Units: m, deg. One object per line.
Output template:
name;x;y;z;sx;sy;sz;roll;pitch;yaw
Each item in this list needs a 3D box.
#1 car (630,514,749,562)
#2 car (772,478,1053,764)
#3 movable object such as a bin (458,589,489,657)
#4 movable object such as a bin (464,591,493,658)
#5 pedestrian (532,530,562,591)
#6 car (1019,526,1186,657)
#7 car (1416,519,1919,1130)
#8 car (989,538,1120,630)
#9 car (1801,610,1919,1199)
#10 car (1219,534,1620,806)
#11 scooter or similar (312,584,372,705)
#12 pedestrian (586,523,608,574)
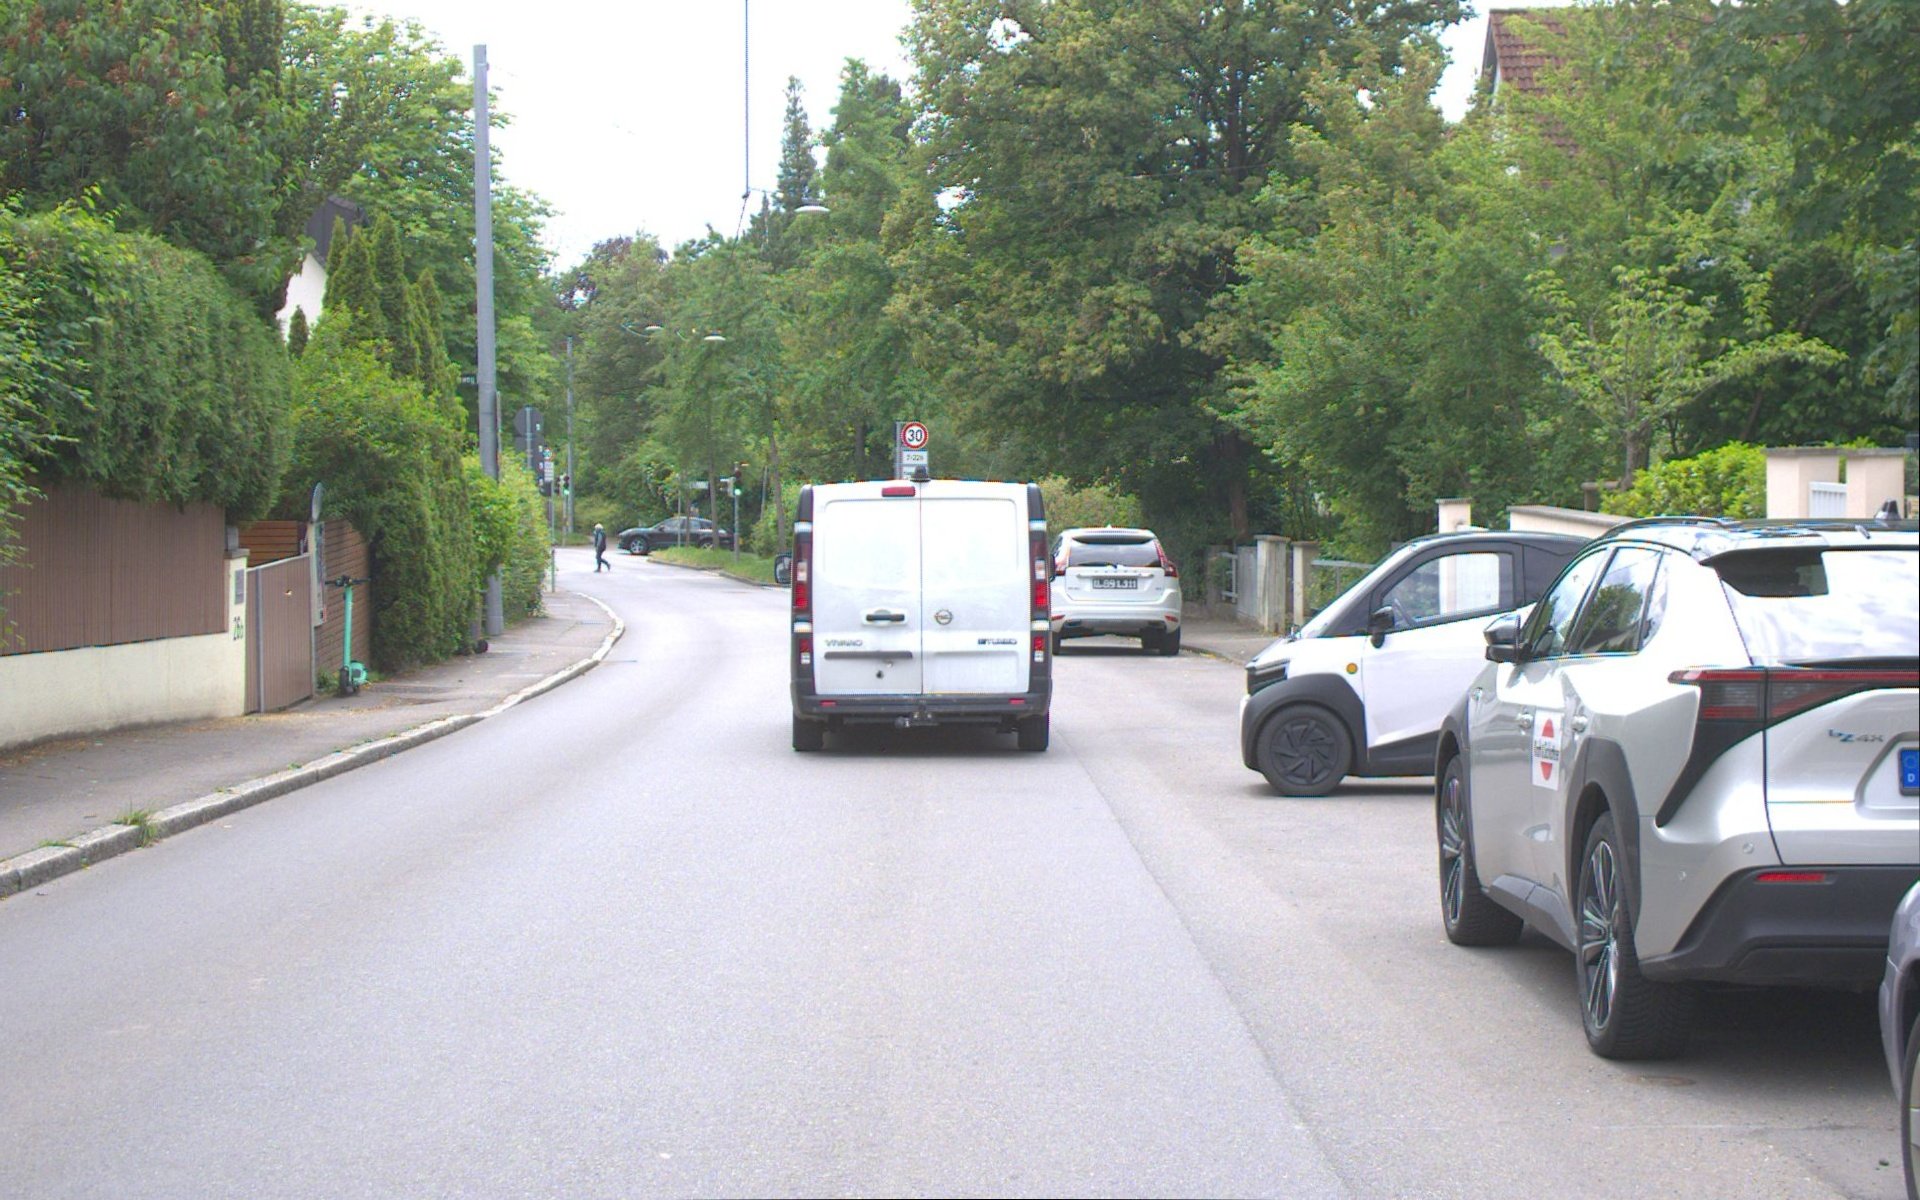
car;-10.754;-2.483;136.779;4.391;1.853;1.902;0;2;8
car;-0.399;0.072;25.919;1.930;1.957;4.402;0;2;-2
movable object such as a bin;-6.526;0.304;46.150;0.336;0.890;0.476;0;1;1
movable object such as a bin;-6.540;0.333;46.706;0.336;0.890;0.476;0;1;0
pedestrian;-10.928;-1.053;90.999;0.706;1.604;0.576;-2;1;-2
car;1.878;-0.149;46.623;1.865;1.679;4.351;0;1;-3
car;2.742;0.552;11.366;1.829;1.618;4.492;0;1;0
car;1.555;-0.297;57.671;1.709;1.482;3.791;-1;1;-6
car;2.855;0.747;5.971;1.716;1.377;4.236;0;1;0
car;2.723;0.400;20.687;2.287;1.518;1.318;-1;2;5
scooter or similar;-6.193;0.432;34.482;0.391;1.167;1.270;-1;1;-2
pedestrian;-11.757;-1.677;111.335;0.697;1.610;0.715;-1;3;-7
